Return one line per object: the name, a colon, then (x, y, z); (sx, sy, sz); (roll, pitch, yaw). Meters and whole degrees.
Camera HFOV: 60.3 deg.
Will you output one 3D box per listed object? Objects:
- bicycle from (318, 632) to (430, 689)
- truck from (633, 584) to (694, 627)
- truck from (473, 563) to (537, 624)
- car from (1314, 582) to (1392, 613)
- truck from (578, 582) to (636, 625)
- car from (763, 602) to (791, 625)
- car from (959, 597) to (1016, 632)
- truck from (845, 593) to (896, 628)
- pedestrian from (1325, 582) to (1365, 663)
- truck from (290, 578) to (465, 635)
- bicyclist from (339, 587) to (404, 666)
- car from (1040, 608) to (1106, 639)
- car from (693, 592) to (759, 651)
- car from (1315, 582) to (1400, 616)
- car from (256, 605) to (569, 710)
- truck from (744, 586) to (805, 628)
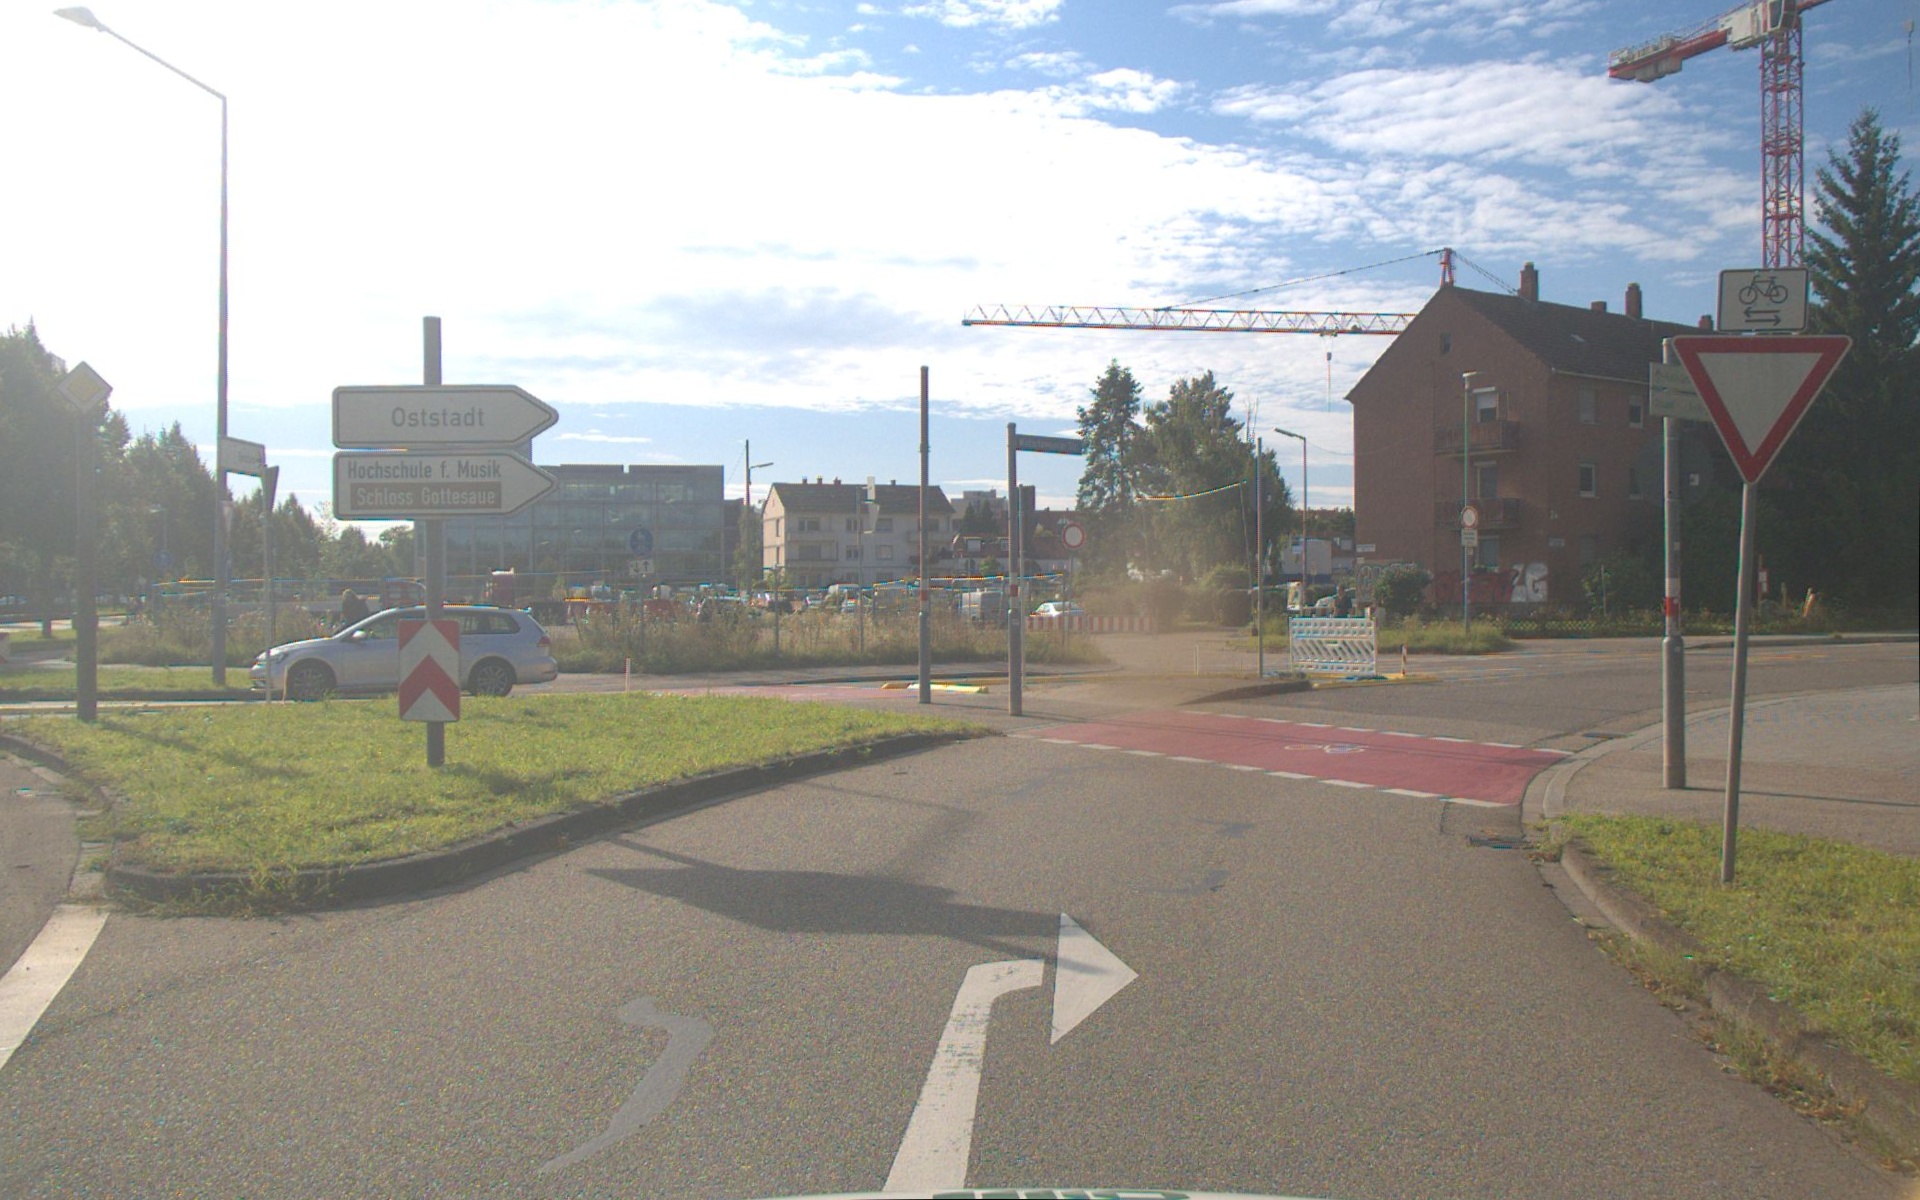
bicycle: (-11.581, 1.184, 32.668); (2.153, 1.081, 0.705); (-1, 0, 23)
truck: (-17.274, 0.308, 96.097); (2.294, 2.369, 6.412); (0, 0, -21)
truck: (-25.468, -0.341, 92.336); (2.767, 3.263, 7.269); (0, 0, -21)
car: (20.748, -0.131, 87.472); (3.902, 1.646, 1.775); (0, 0, 10)
truck: (-20.260, 0.197, 94.687); (2.294, 2.369, 6.412); (0, 0, -21)
car: (-15.184, 1.097, 136.901); (1.958, 1.892, 3.988); (0, 0, -12)
car: (1.460, 0.774, 89.362); (1.852, 1.847, 3.977); (0, 0, -20)
truck: (-5.937, 0.672, 109.063); (1.945, 2.209, 5.374); (0, 0, -20)
pedestrian: (9.200, 0.533, 39.521); (0.656, 1.903, 0.832); (0, 0, 37)
truck: (-27.536, 0.274, 78.558); (7.713, 2.612, 3.058); (0, 0, -19)
bicyclist: (-11.626, 0.516, 32.685); (0.987, 1.538, 0.705); (-1, 0, 24)
car: (5.343, 1.118, 78.862); (1.690, 1.417, 3.977); (0, 0, -20)
car: (-7.533, 0.664, 53.497); (1.842, 1.847, 3.997); (0, 0, -4)
car: (19.677, -0.029, 81.757); (3.904, 1.646, 1.773); (0, 0, 20)
car: (-8.455, 0.844, 25.647); (4.465, 1.478, 1.811); (0, 0, -23)
truck: (-11.006, 0.402, 97.871); (2.253, 2.369, 5.603); (0, 0, -21)
